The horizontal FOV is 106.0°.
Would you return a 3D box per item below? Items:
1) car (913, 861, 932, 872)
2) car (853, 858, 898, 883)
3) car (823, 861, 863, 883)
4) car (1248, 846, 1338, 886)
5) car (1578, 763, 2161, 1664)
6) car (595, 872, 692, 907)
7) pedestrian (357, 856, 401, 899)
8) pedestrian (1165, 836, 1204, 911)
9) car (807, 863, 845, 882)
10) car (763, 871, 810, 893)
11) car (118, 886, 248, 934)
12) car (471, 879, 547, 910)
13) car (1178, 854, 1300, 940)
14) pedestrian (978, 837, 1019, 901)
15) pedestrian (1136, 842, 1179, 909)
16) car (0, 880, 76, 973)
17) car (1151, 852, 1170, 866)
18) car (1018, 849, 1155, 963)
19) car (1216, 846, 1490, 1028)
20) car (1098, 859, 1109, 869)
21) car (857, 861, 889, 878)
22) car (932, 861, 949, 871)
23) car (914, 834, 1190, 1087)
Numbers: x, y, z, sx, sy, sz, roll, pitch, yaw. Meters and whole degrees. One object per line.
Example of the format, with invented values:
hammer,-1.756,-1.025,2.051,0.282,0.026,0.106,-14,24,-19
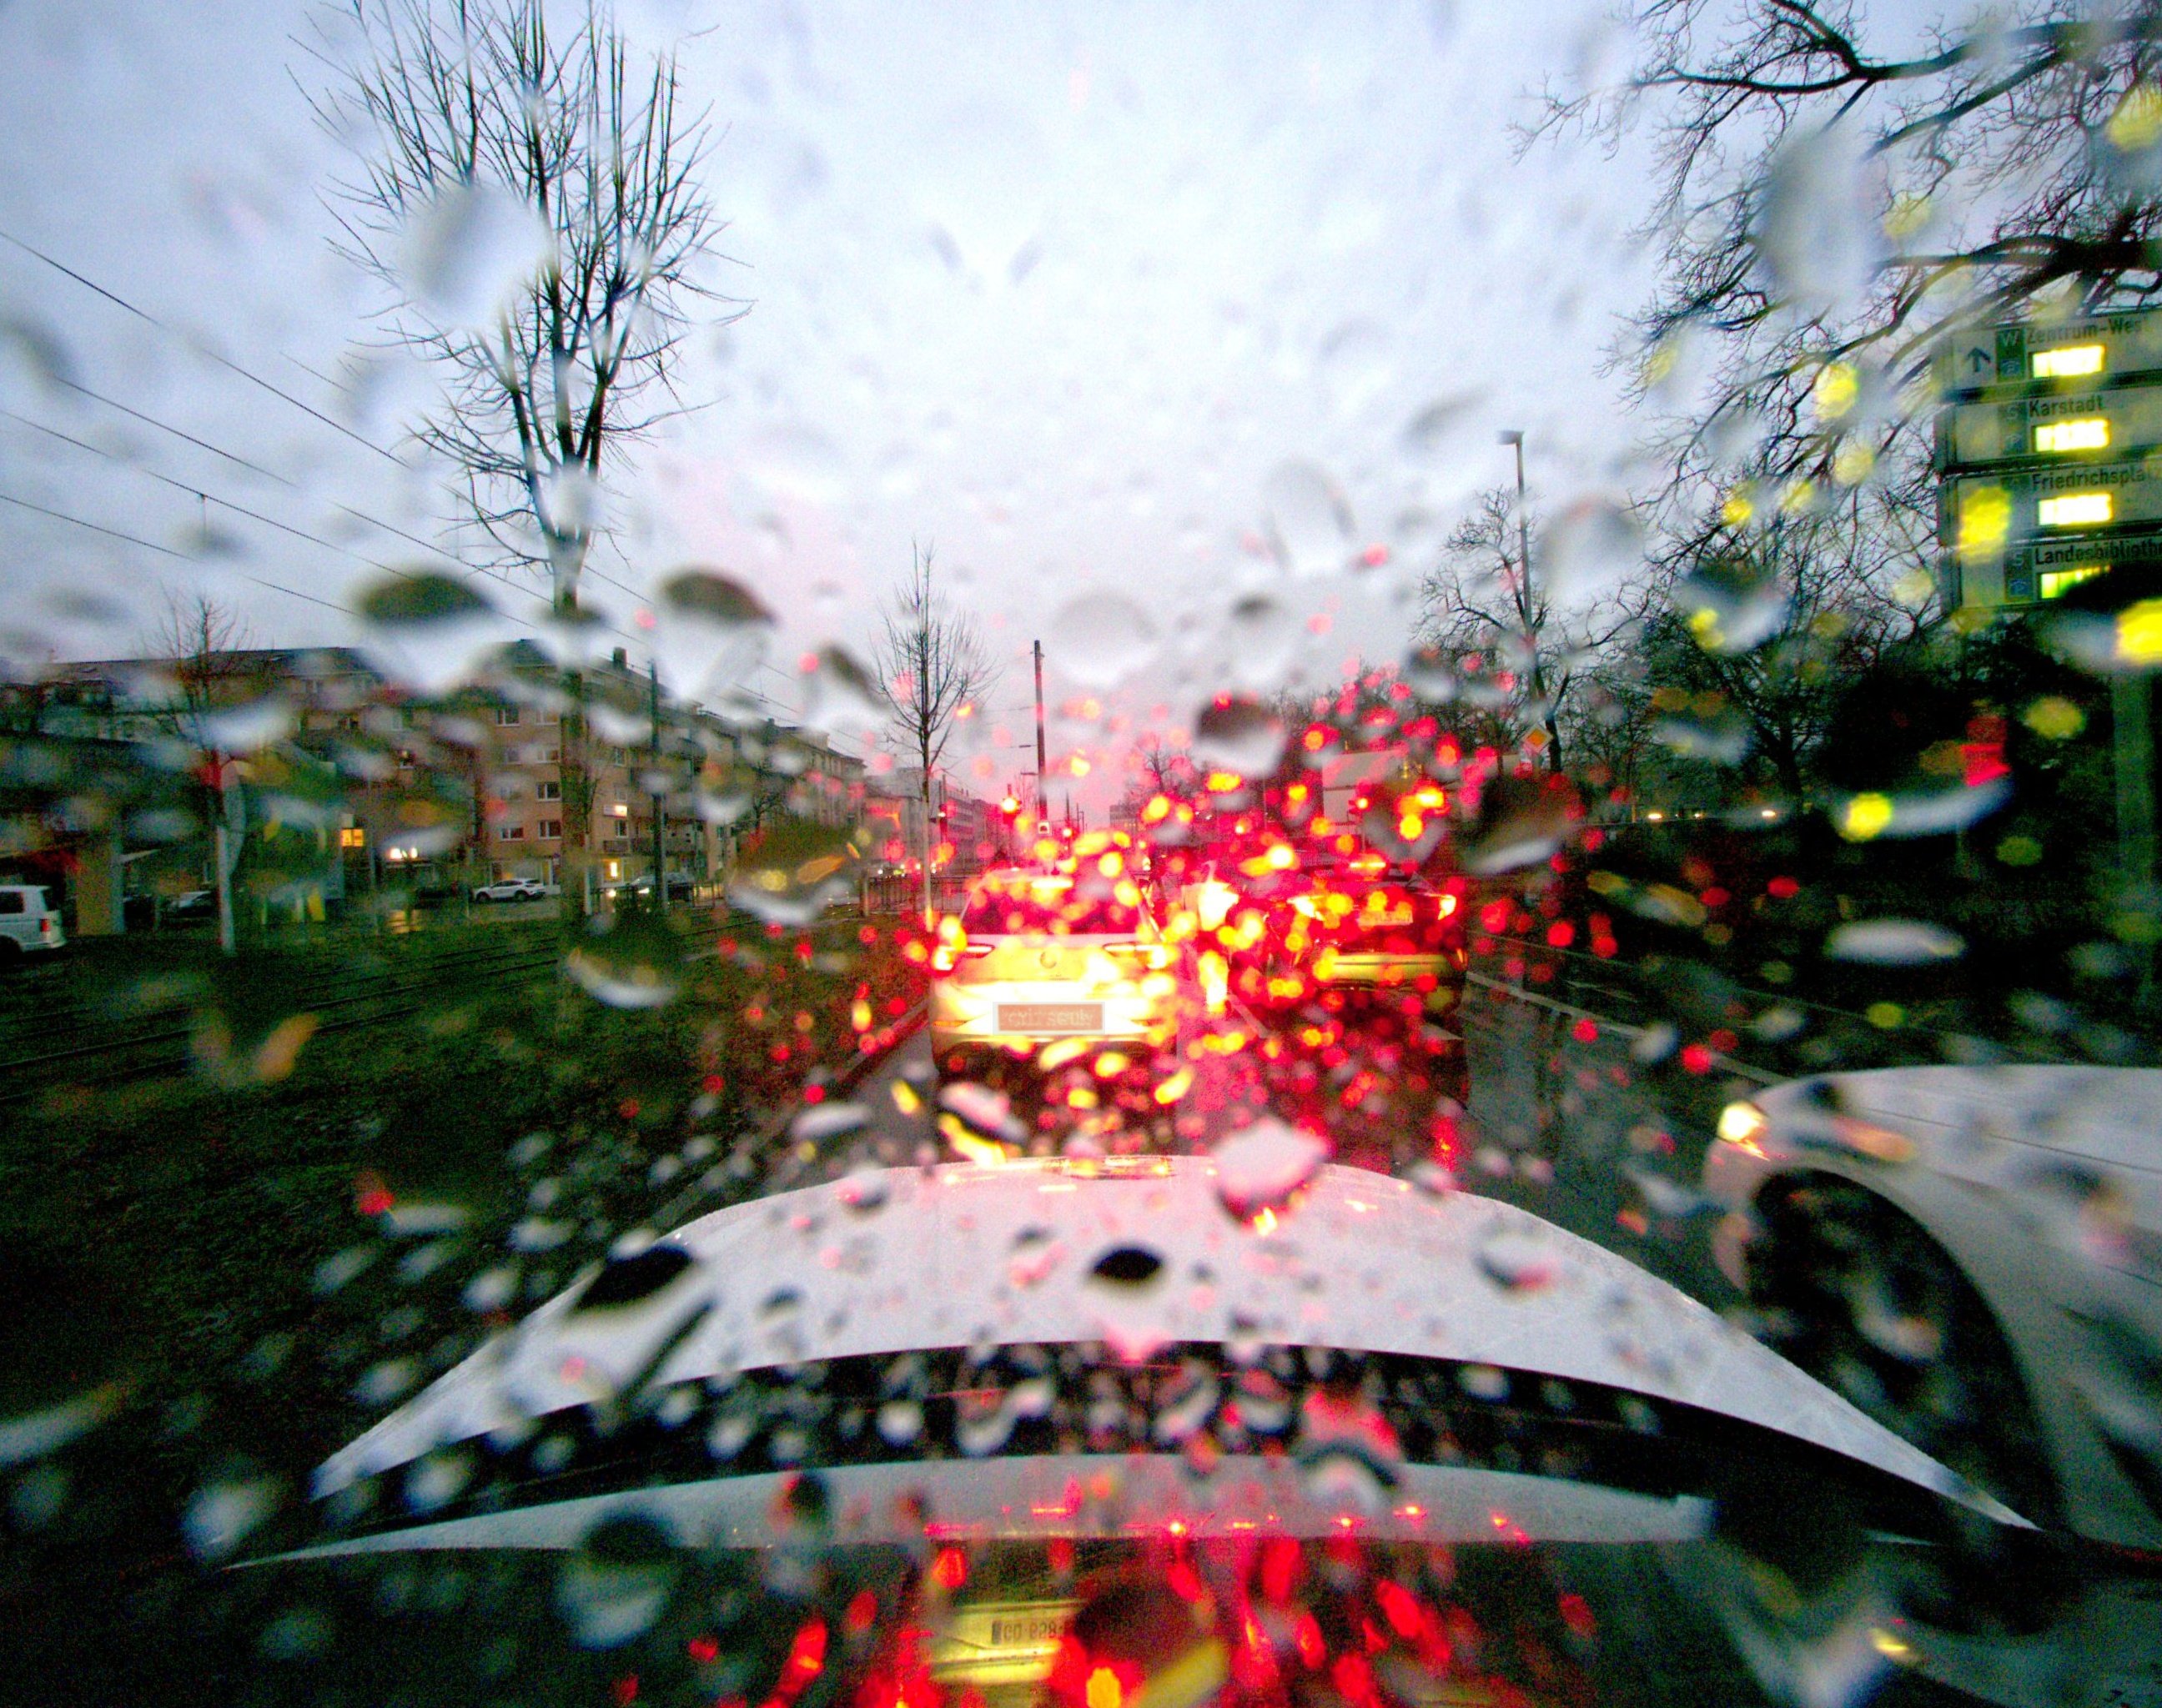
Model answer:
car,-23.594,1.819,121.473,1.942,1.602,4.002,0,0,2
car,-13.998,1.093,55.793,1.986,1.602,4.001,0,0,1
car,-18.851,1.379,64.781,1.860,1.577,4.002,-2,0,2
car,10.667,0.578,40.890,4.237,1.943,2.009,0,0,18
car,2.778,0.591,0.497,1.857,1.556,4.936,-2,0,-1
car,-19.154,1.524,35.896,1.852,1.332,4.317,0,0,2
pedestrian,-34.005,1.129,39.464,1.274,2.013,1.000,-2,0,-22
pedestrian,2.884,0.531,22.799,0.954,2.013,1.009,-2,0,4
car,-22.083,1.592,70.703,1.942,1.602,4.002,0,0,2
car,-18.868,1.773,52.317,1.688,1.277,4.142,-2,0,-4
car,-43.077,2.641,39.212,1.886,2.014,3.876,0,0,2
car,-38.551,2.707,55.000,3.743,1.942,1.838,0,0,-6
car,2.860,0.727,15.492,1.738,1.433,3.733,0,0,2
pedestrian,-2.673,0.485,26.422,1.009,2.013,0.954,-2,0,-25
pedestrian,2.411,0.665,25.692,0.962,2.013,1.001,-2,0,-21
car,-28.637,1.842,19.933,4.859,2.244,1.975,0,0,-44
car,8.642,0.488,88.888,1.731,1.419,3.705,-2,0,2
car,0.158,0.688,13.247,1.792,1.466,4.588,-2,0,2
car,2.663,0.715,8.952,1.793,1.511,3.897,-2,0,2
car,3.497,1.549,125.779,1.731,1.419,4.396,-2,0,2
car,-19.997,1.469,78.416,1.942,1.602,4.002,0,0,2
car,-22.961,1.895,133.055,1.942,1.602,4.002,0,0,2
car,-0.204,0.646,7.037,1.688,1.533,3.998,-1,0,-1
